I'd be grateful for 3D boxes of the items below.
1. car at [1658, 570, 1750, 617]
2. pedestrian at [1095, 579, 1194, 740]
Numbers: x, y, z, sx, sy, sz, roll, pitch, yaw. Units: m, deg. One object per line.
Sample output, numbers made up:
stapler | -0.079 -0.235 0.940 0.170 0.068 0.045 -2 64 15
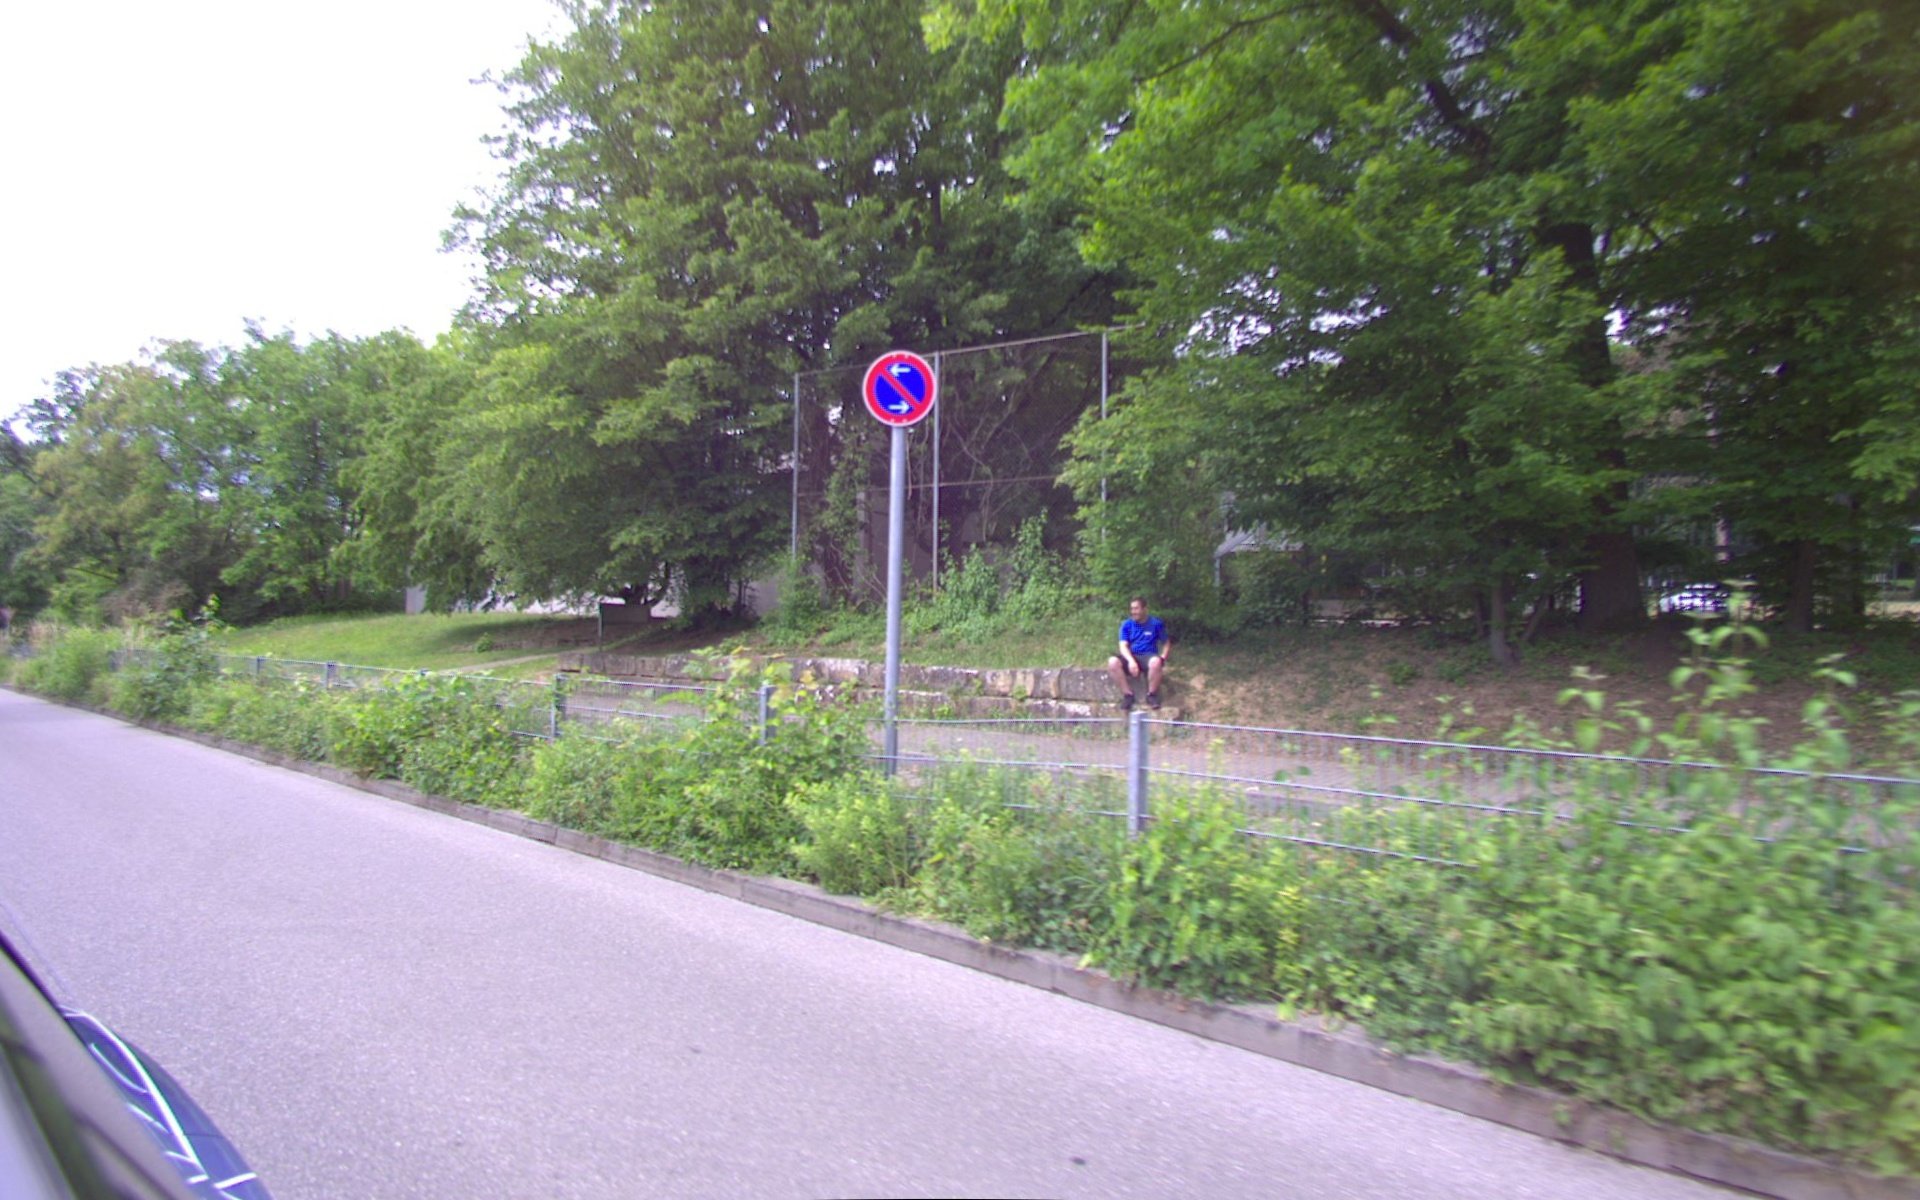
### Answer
car | 30.224 -0.218 41.244 1.961 1.707 4.415 -1 -2 22
pedestrian | 2.028 0.636 11.129 0.808 1.675 0.752 -1 -3 39
